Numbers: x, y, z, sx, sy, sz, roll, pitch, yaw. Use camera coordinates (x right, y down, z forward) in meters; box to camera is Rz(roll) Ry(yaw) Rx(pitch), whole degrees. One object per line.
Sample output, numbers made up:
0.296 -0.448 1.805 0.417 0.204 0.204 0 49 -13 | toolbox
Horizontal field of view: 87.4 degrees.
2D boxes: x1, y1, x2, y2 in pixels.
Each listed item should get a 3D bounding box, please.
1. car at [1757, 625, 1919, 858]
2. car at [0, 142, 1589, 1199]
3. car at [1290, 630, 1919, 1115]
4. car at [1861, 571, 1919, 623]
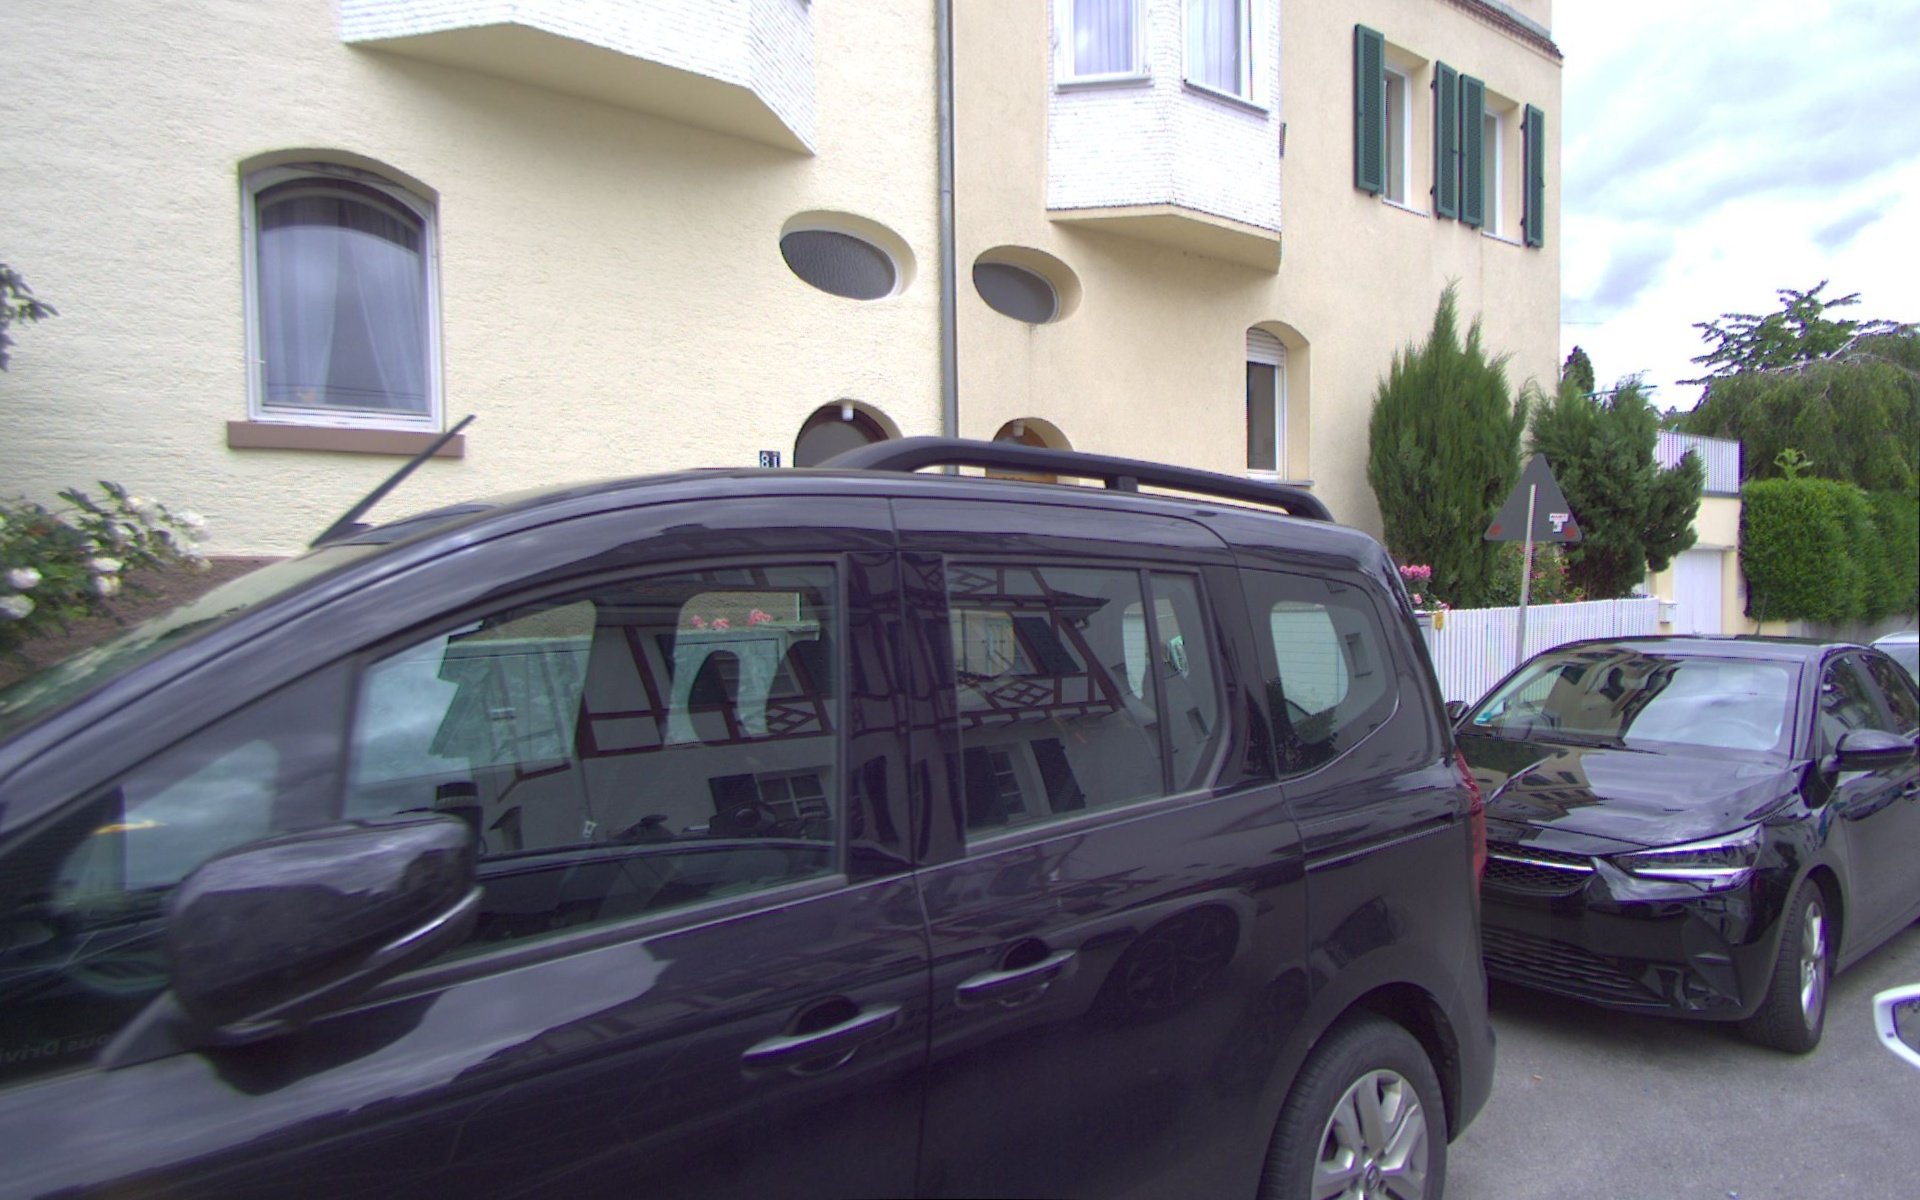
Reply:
7.585 0.909 7.373 3.942 1.435 1.632 1 -1 -34 | car
-0.737 0.574 1.988 4.501 1.839 1.832 2 -1 -36 | car
3.447 0.864 4.778 3.821 1.406 1.631 1 -1 -35 | car
32.650 -0.074 32.582 4.715 1.662 2.001 1 1 9 | car
